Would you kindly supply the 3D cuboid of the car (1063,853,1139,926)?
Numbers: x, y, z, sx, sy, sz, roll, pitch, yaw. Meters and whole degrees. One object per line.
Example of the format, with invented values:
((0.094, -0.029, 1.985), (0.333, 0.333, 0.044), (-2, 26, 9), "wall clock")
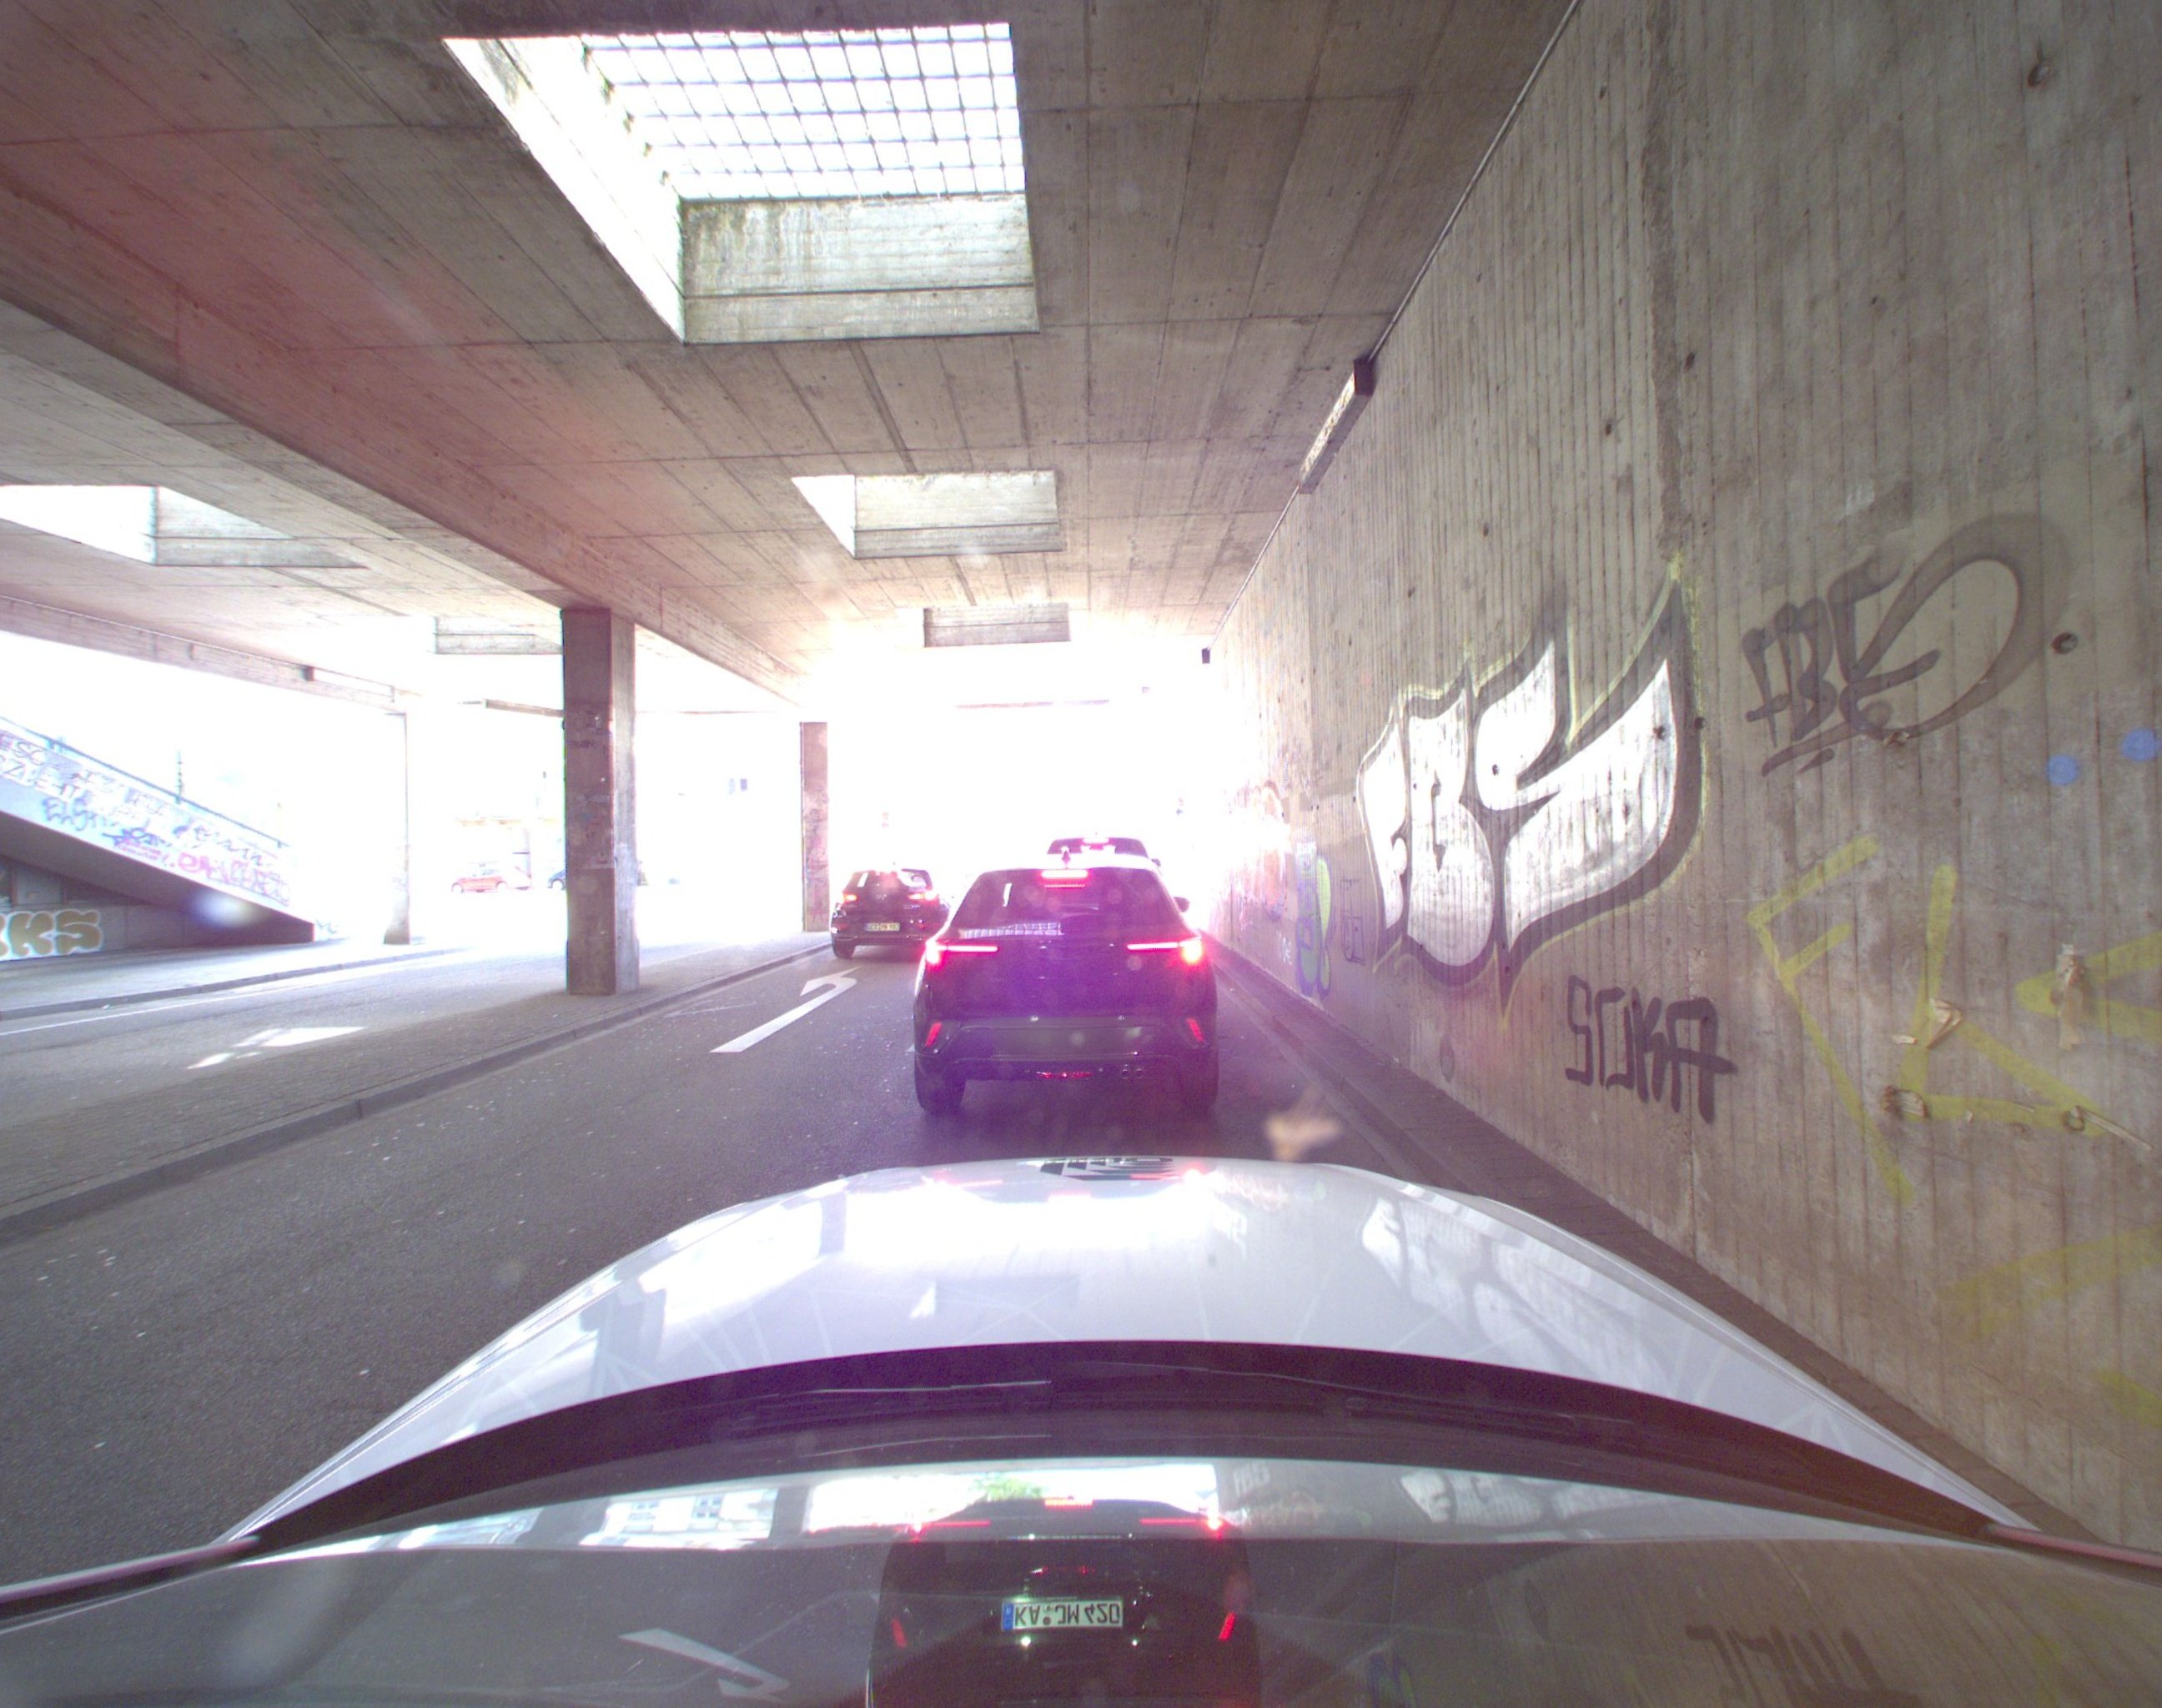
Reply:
((0.494, 0.757, 19.384), (1.603, 1.513, 4.055), (-1, 0, 2), "car")

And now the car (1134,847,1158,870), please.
((4.971, 0.370, 62.253), (1.745, 1.667, 3.950), (0, -1, 6), "car")

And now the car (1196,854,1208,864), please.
((21.439, 0.909, 144.545), (1.742, 1.667, 3.958), (-1, -1, 13), "car")

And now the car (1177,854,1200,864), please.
((18.011, 0.891, 136.402), (1.800, 1.667, 4.846), (-1, -1, 35), "car")

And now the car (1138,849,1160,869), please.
((5.759, 0.413, 68.357), (1.745, 1.667, 3.950), (0, -1, 6), "car")

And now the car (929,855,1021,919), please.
((-2.658, 0.793, 21.213), (1.755, 1.480, 3.846), (-1, 0, 2), "car")

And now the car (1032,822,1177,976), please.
((0.357, 0.563, 12.165), (1.755, 1.883, 4.148), (-1, 0, 2), "car")

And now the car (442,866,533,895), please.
((-32.926, 1.455, 45.272), (3.748, 1.475, 1.749), (-1, -1, 0), "car")

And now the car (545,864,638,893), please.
((-27.170, 1.329, 45.294), (4.096, 1.475, 1.737), (-1, -1, 0), "car")

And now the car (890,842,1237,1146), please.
((-0.028, 0.723, 6.226), (1.755, 1.531, 4.091), (-1, 0, 2), "car")

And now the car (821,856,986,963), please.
((-2.748, 0.797, 13.485), (1.755, 1.480, 3.846), (-1, 0, 2), "car")
